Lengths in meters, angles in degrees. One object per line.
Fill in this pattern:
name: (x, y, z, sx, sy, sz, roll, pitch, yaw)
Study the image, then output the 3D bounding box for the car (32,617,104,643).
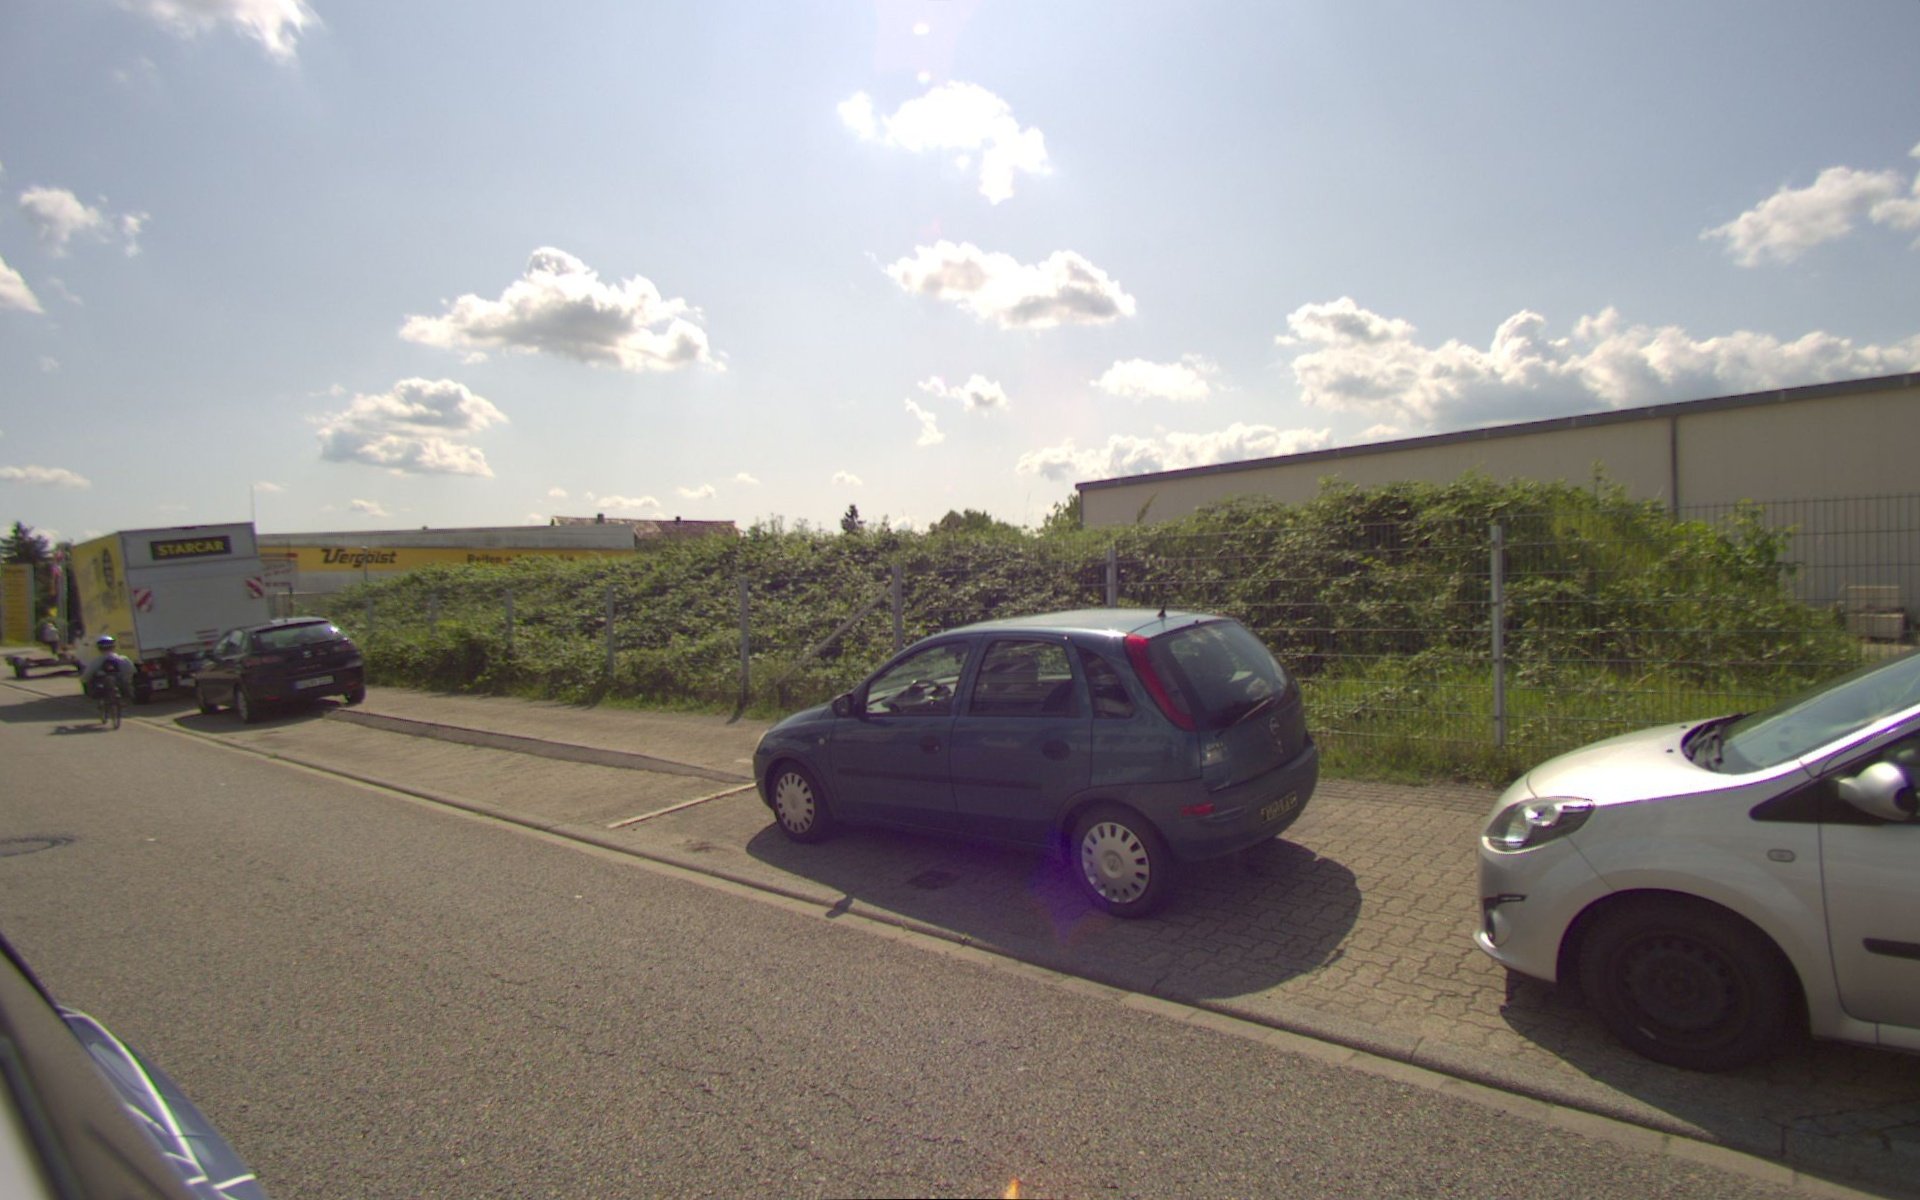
car: (-67.637, 2.266, 76.837, 4.035, 1.726, 1.682, -2, 0, -41)

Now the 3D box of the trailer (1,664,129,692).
trailer: (-26.994, 2.320, 30.482, 4.440, 0.556, 2.213, -2, 0, 39)

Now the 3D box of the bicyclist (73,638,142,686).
bicyclist: (-12.772, 0.909, 15.147, 1.857, 0.636, 0.559, -2, 1, 43)

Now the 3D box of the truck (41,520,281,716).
truck: (-16.710, 0.359, 20.975, 6.900, 3.385, 2.229, -2, 5, 40)

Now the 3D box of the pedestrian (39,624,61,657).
pedestrian: (-44.202, 1.984, 49.151, 0.917, 1.557, 0.653, -2, 0, 42)

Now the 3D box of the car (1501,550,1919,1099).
car: (3.802, 0.589, 2.888, 3.707, 1.494, 1.599, -1, 3, 40)

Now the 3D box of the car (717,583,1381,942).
car: (0.328, 0.728, 6.184, 3.798, 1.409, 1.553, -2, 5, 42)

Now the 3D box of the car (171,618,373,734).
car: (-11.097, 1.128, 16.233, 3.824, 1.439, 1.604, -1, 7, 41)

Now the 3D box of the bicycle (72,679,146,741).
bicycle: (-12.750, 1.613, 15.143, 2.125, 0.747, 0.581, -2, 0, 43)
